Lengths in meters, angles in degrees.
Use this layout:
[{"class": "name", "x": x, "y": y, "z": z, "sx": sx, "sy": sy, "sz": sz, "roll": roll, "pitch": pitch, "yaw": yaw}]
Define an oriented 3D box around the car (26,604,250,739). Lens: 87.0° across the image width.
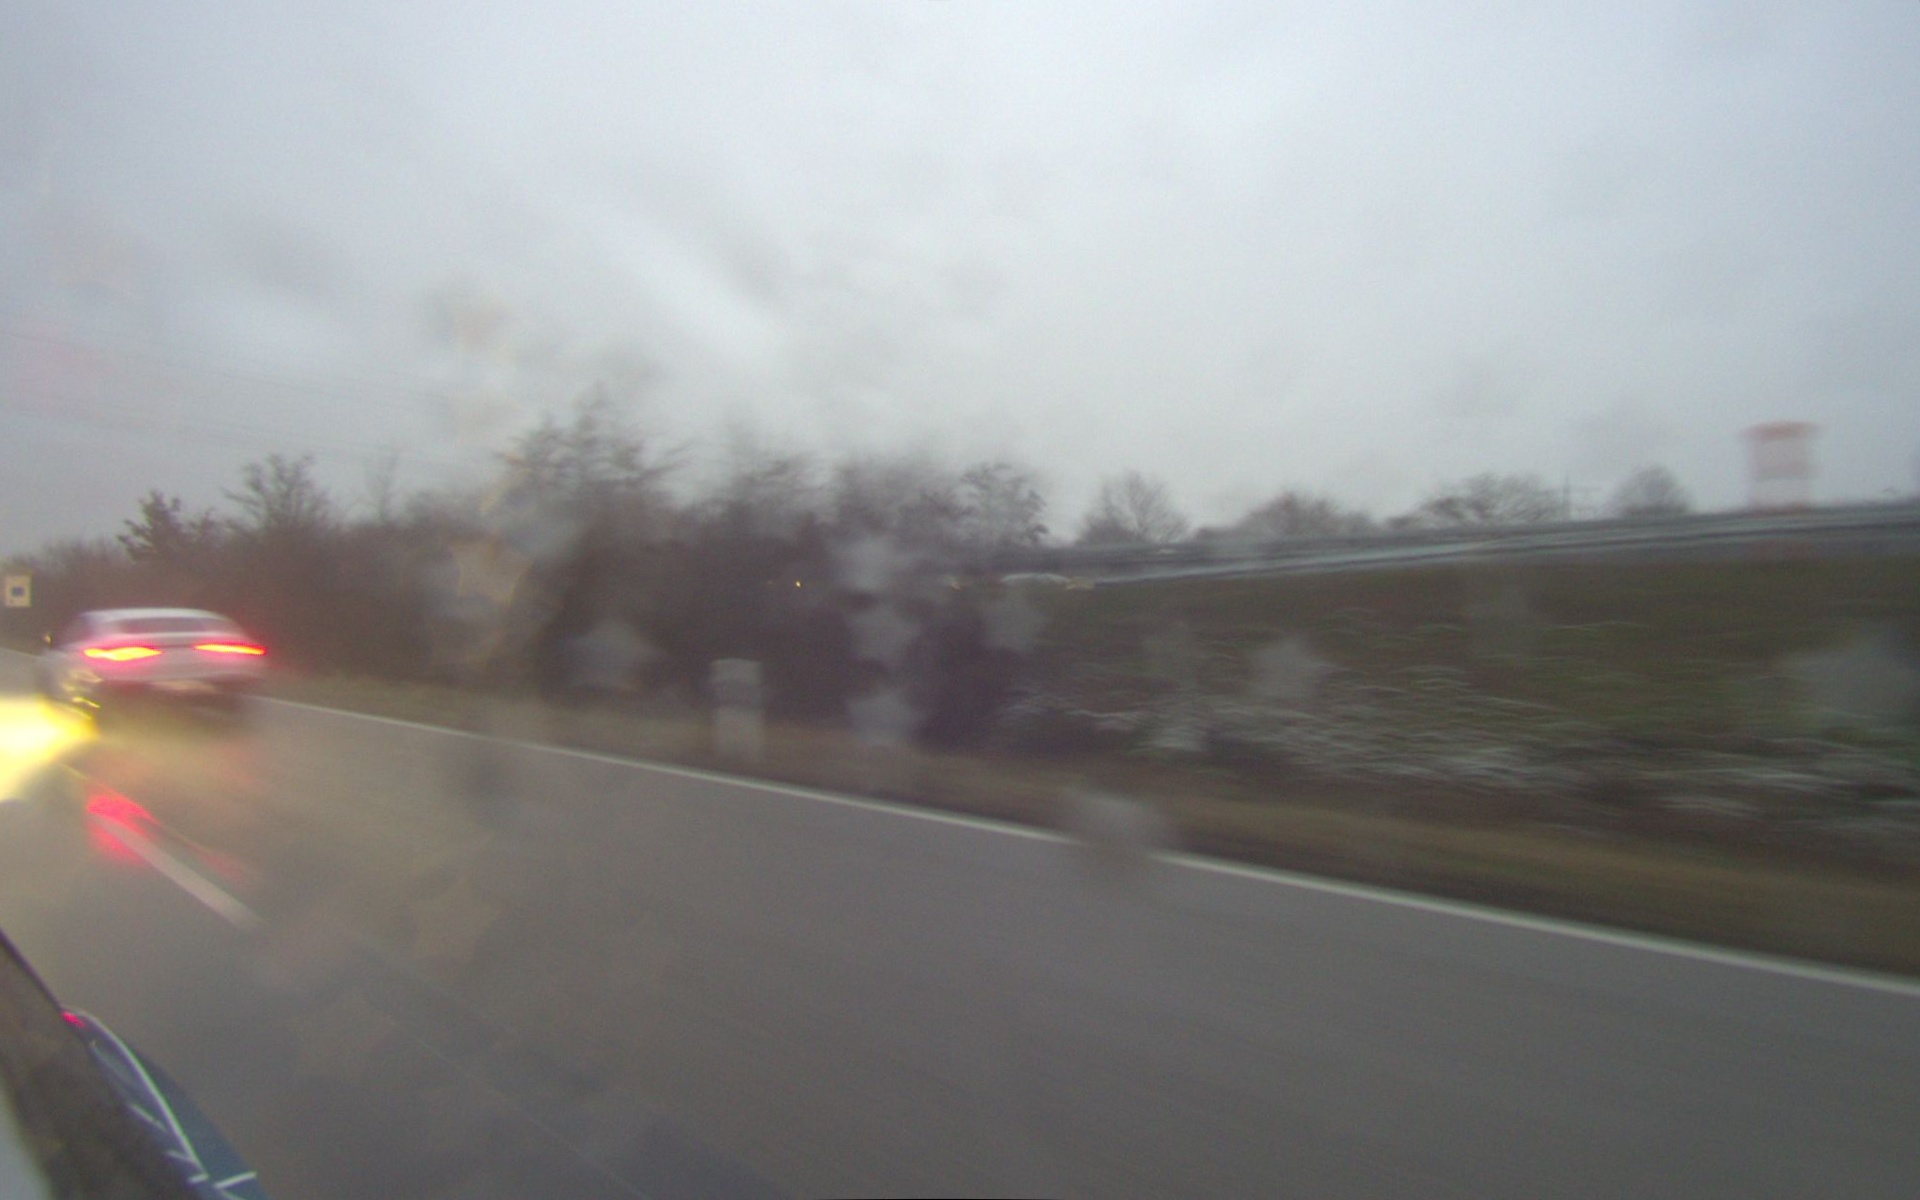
[{"class": "car", "x": -11.738, "y": 0.908, "z": 14.343, "sx": 4.484, "sy": 1.603, "sz": 1.767, "roll": -1, "pitch": -1, "yaw": 42}]
